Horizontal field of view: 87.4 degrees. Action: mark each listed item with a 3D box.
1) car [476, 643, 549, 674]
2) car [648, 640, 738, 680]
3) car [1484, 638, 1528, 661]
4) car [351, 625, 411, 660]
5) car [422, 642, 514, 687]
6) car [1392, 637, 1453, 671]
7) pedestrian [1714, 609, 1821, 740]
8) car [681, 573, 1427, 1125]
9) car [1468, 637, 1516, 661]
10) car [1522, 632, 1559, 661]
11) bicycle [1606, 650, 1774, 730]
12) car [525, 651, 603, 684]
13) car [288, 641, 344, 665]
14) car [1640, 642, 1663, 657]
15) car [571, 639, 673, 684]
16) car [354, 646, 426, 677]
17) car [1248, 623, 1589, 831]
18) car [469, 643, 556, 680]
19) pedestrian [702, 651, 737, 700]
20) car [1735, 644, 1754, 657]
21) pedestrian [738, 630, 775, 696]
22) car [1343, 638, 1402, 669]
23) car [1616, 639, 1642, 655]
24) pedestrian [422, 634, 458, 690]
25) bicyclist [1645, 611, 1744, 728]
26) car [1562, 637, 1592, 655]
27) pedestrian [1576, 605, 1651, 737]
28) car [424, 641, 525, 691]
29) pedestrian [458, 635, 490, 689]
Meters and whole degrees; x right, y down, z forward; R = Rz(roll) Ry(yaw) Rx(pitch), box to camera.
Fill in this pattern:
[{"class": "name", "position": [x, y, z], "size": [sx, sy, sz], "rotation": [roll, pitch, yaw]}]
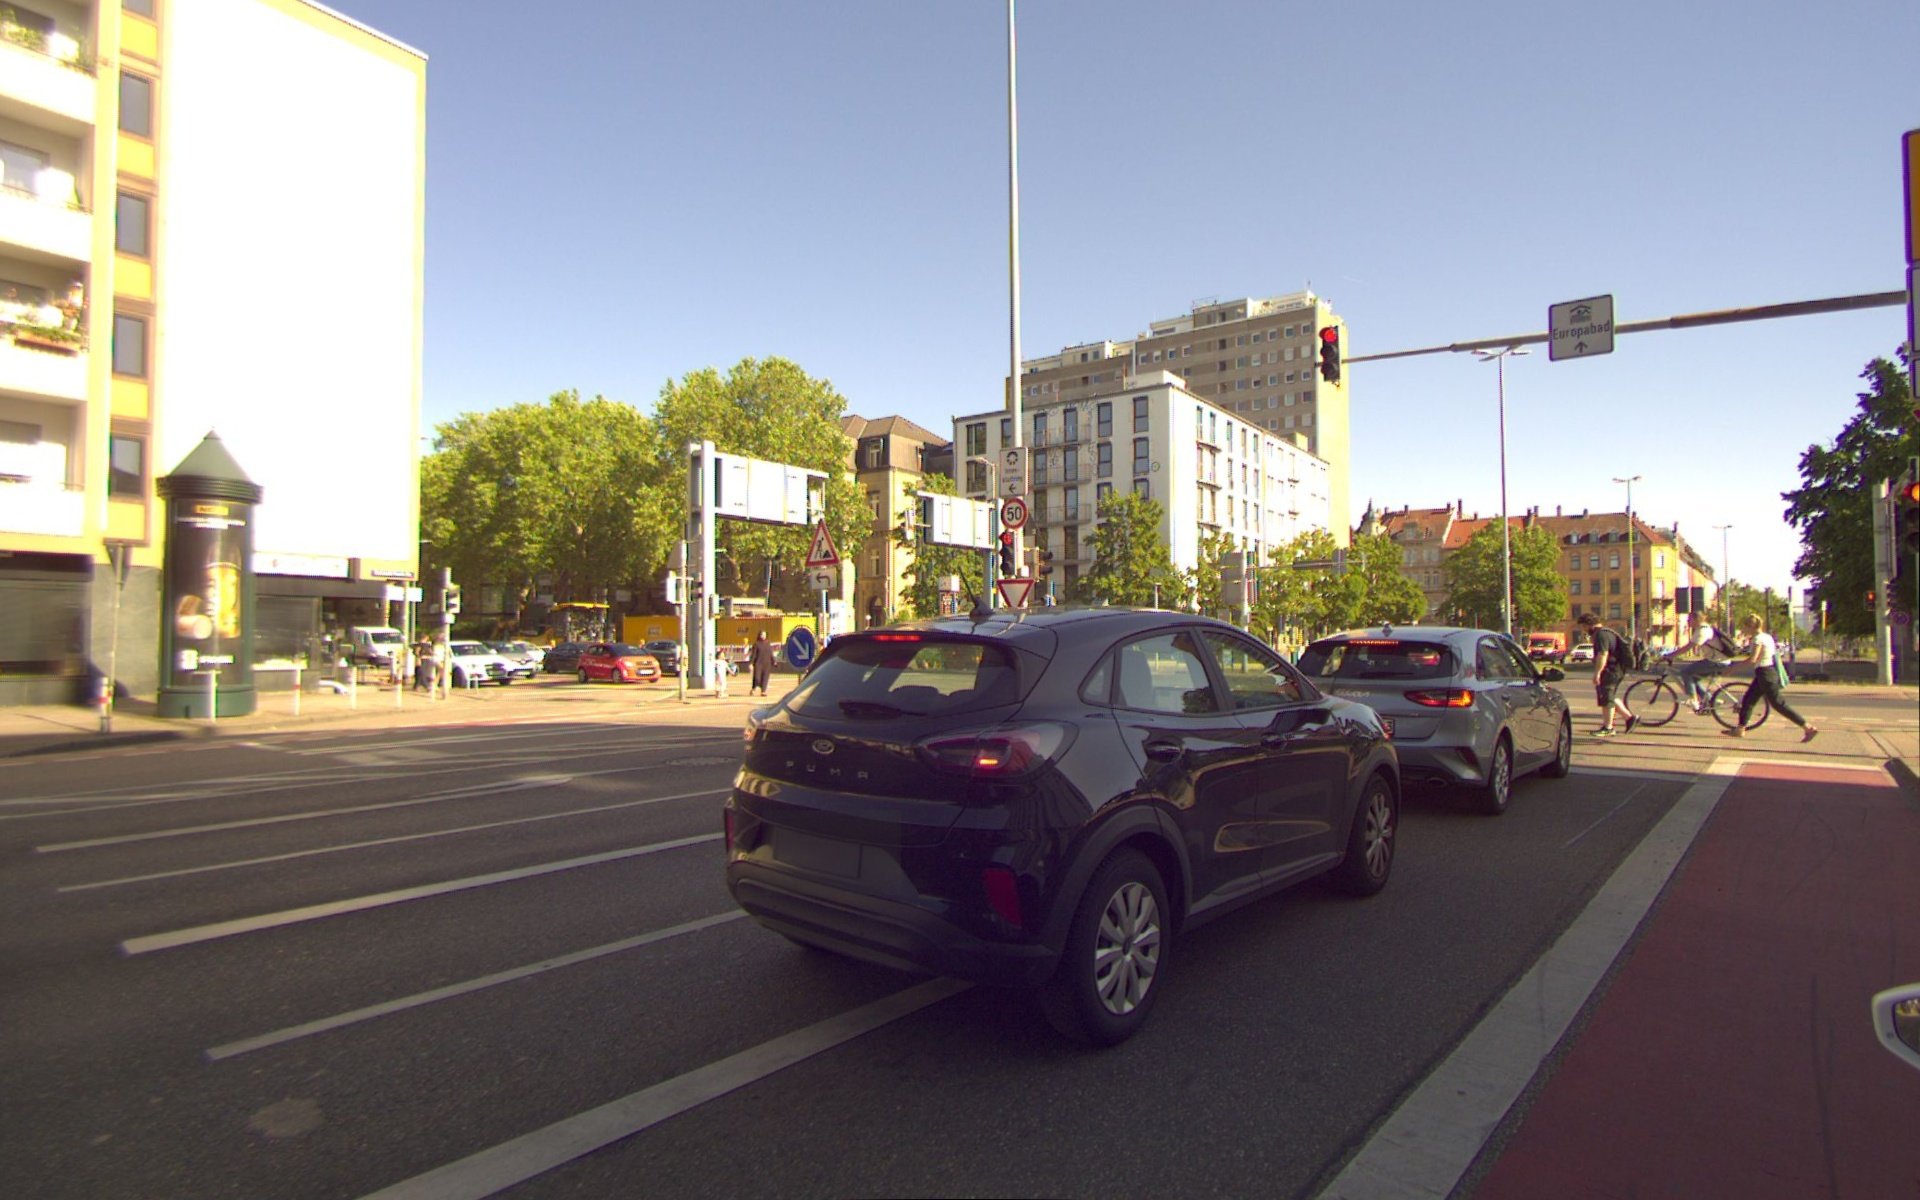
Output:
[{"class": "car", "position": [-21.989, 2.868, 49.343], "size": [3.594, 1.474, 1.838], "rotation": [-3, -3, 38]}, {"class": "car", "position": [-10.997, 2.458, 41.306], "size": [3.594, 1.535, 1.838], "rotation": [-3, -3, 38]}, {"class": "car", "position": [37.213, 3.356, 68.465], "size": [1.853, 1.467, 3.980], "rotation": [-2, -3, 41]}, {"class": "car", "position": [-33.329, 2.478, 57.787], "size": [3.594, 1.943, 1.761], "rotation": [-3, -3, 38]}, {"class": "car", "position": [-17.786, 2.315, 36.270], "size": [3.595, 1.535, 1.607], "rotation": [-3, -3, 39]}, {"class": "car", "position": [23.632, 2.727, 51.302], "size": [1.771, 1.638, 3.980], "rotation": [-2, -3, 41]}, {"class": "pedestrian", "position": [10.813, 0.976, 13.498], "size": [1.027, 1.681, 0.781], "rotation": [-2, -2, 36]}, {"class": "car", "position": [0.771, 0.795, 4.983], "size": [1.809, 1.599, 3.820], "rotation": [-2, -3, 41]}, {"class": "car", "position": [34.109, 3.131, 64.333], "size": [1.853, 1.467, 3.980], "rotation": [-2, -3, 41]}, {"class": "car", "position": [45.560, 3.614, 78.765], "size": [1.790, 2.162, 3.980], "rotation": [-2, -3, 41]}, {"class": "bicycle", "position": [10.936, 1.321, 15.093], "size": [2.007, 1.075, 0.619], "rotation": [-1, -2, 39]}, {"class": "car", "position": [-18.498, 3.147, 46.934], "size": [3.594, 1.474, 1.838], "rotation": [-3, -3, 38]}, {"class": "car", "position": [-40.218, 3.329, 62.731], "size": [3.594, 1.474, 1.838], "rotation": [-3, -3, 38]}, {"class": "car", "position": [79.908, 5.697, 116.042], "size": [1.790, 1.655, 3.980], "rotation": [-2, -3, 41]}, {"class": "car", "position": [-12.268, 2.208, 36.411], "size": [3.594, 1.535, 1.838], "rotation": [-3, -3, 38]}, {"class": "car", "position": [-28.135, 3.030, 49.568], "size": [3.594, 1.474, 1.838], "rotation": [-3, -3, 38]}, {"class": "car", "position": [4.367, 0.974, 9.235], "size": [1.809, 1.471, 3.968], "rotation": [-2, -3, 41]}, {"class": "car", "position": [-18.665, 2.559, 41.861], "size": [3.594, 1.474, 1.838], "rotation": [-3, -3, 38]}, {"class": "pedestrian", "position": [-5.997, 1.876, 25.045], "size": [0.650, 1.181, 0.677], "rotation": [0, -2, 8]}, {"class": "car", "position": [95.894, 6.166, 122.767], "size": [1.788, 1.467, 3.984], "rotation": [-2, -3, 38]}, {"class": "pedestrian", "position": [-5.218, 1.607, 25.804], "size": [0.816, 1.671, 0.676], "rotation": [0, -2, -2]}, {"class": "car", "position": [22.525, 2.884, 54.796], "size": [1.853, 1.638, 3.980], "rotation": [-2, -3, 41]}, {"class": "car", "position": [70.193, 4.910, 105.443], "size": [1.790, 1.655, 3.980], "rotation": [-2, -3, 41]}, {"class": "pedestrian", "position": [-15.626, 1.864, 30.216], "size": [0.786, 1.648, 0.551], "rotation": [-1, -2, 15]}, {"class": "bicyclist", "position": [10.906, 1.003, 14.924], "size": [1.151, 1.655, 0.726], "rotation": [-1, -2, 39]}, {"class": "car", "position": [56.835, 4.227, 92.507], "size": [1.790, 1.655, 3.980], "rotation": [-2, -3, 41]}, {"class": "pedestrian", "position": [8.967, 0.950, 13.772], "size": [0.815, 1.724, 0.914], "rotation": [-1, -2, 36]}, {"class": "car", "position": [-15.972, 2.152, 32.974], "size": [3.595, 1.535, 1.607], "rotation": [-3, -3, 39]}, {"class": "pedestrian", "position": [-14.968, 1.899, 30.959], "size": [0.676, 1.630, 0.551], "rotation": [-1, -2, 15]}]
